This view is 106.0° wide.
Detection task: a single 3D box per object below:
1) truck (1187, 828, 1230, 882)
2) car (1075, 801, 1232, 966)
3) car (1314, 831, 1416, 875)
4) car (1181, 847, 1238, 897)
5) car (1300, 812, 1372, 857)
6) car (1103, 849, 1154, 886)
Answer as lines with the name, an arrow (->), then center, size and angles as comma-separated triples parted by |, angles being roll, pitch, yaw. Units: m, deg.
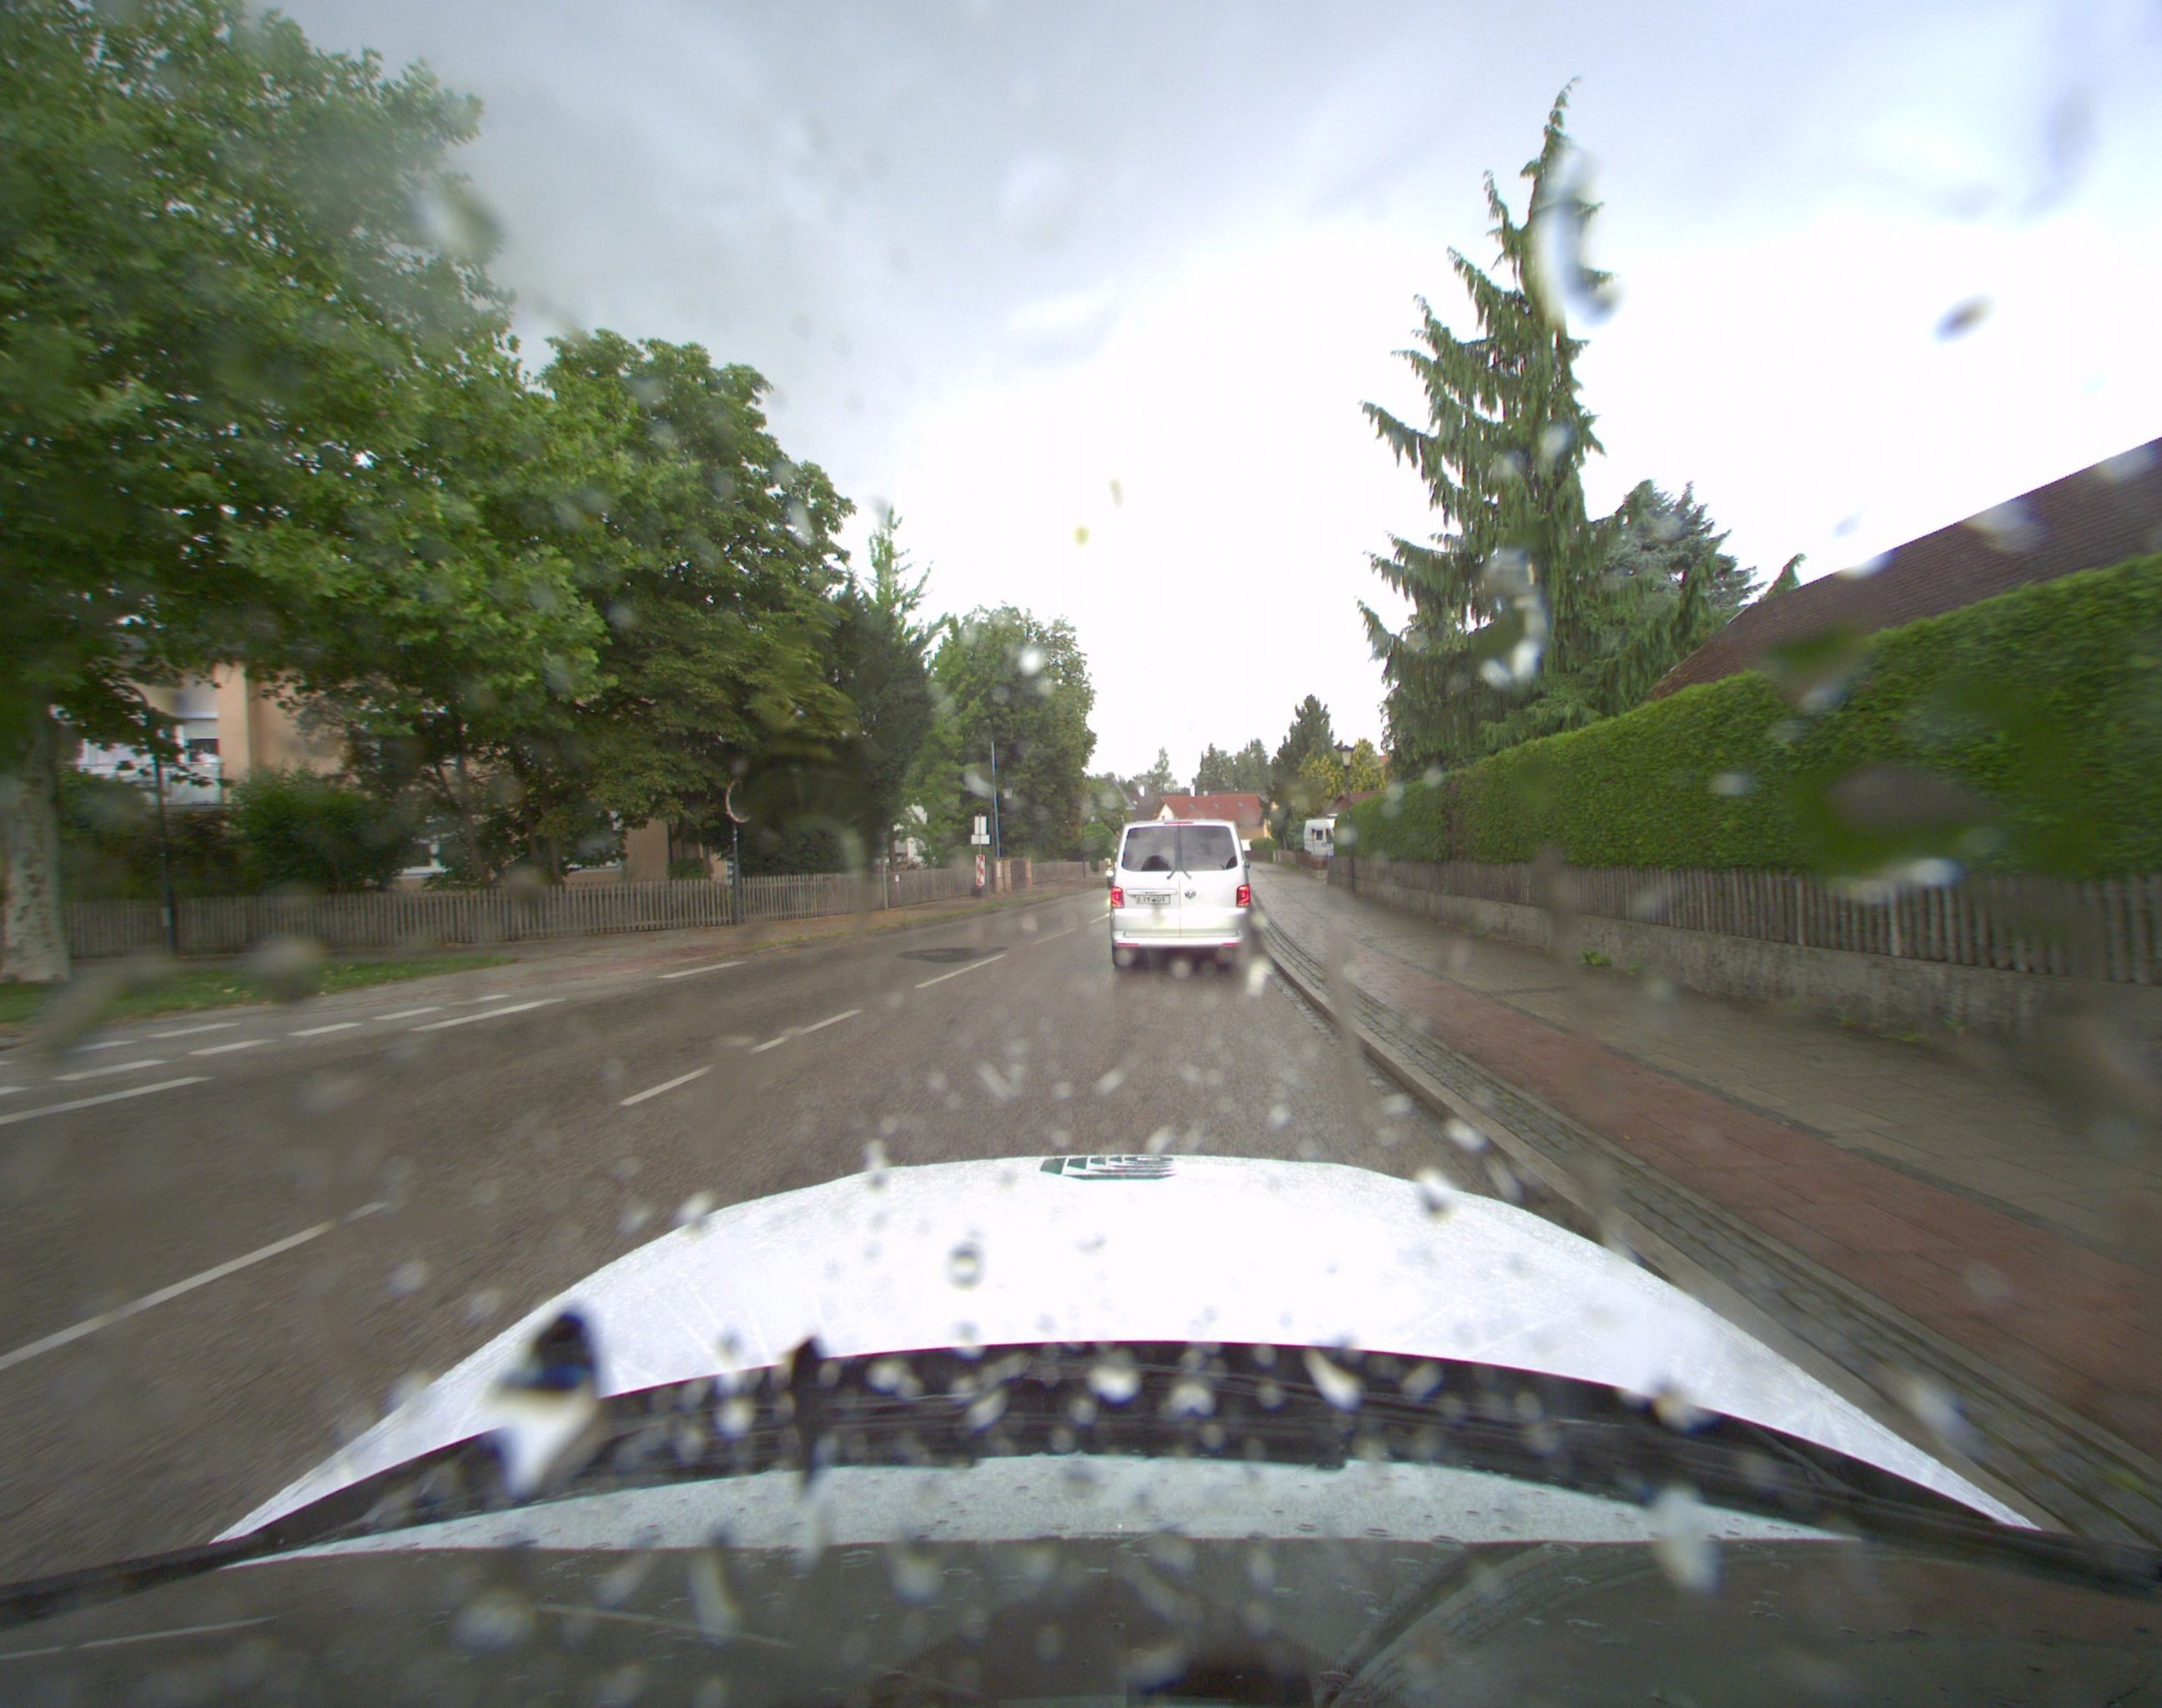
truck -> 7.889, 0.089, 50.184 | 2.460, 3.074, 6.312 | -1, -1, 10
car -> 1.244, 0.390, 12.069 | 1.788, 2.014, 4.013 | -1, -1, 12
car -> 12.909, -0.049, 37.156 | 4.072, 1.751, 1.698 | -3, 2, 6
car -> 4.462, 0.599, 28.106 | 1.790, 1.588, 4.010 | -1, -1, 10
car -> 13.266, -0.978, 42.702 | 1.989, 2.173, 4.946 | 0, -1, -3
car -> 2.337, 0.634, 39.156 | 1.772, 1.663, 4.460 | -1, -1, 12
